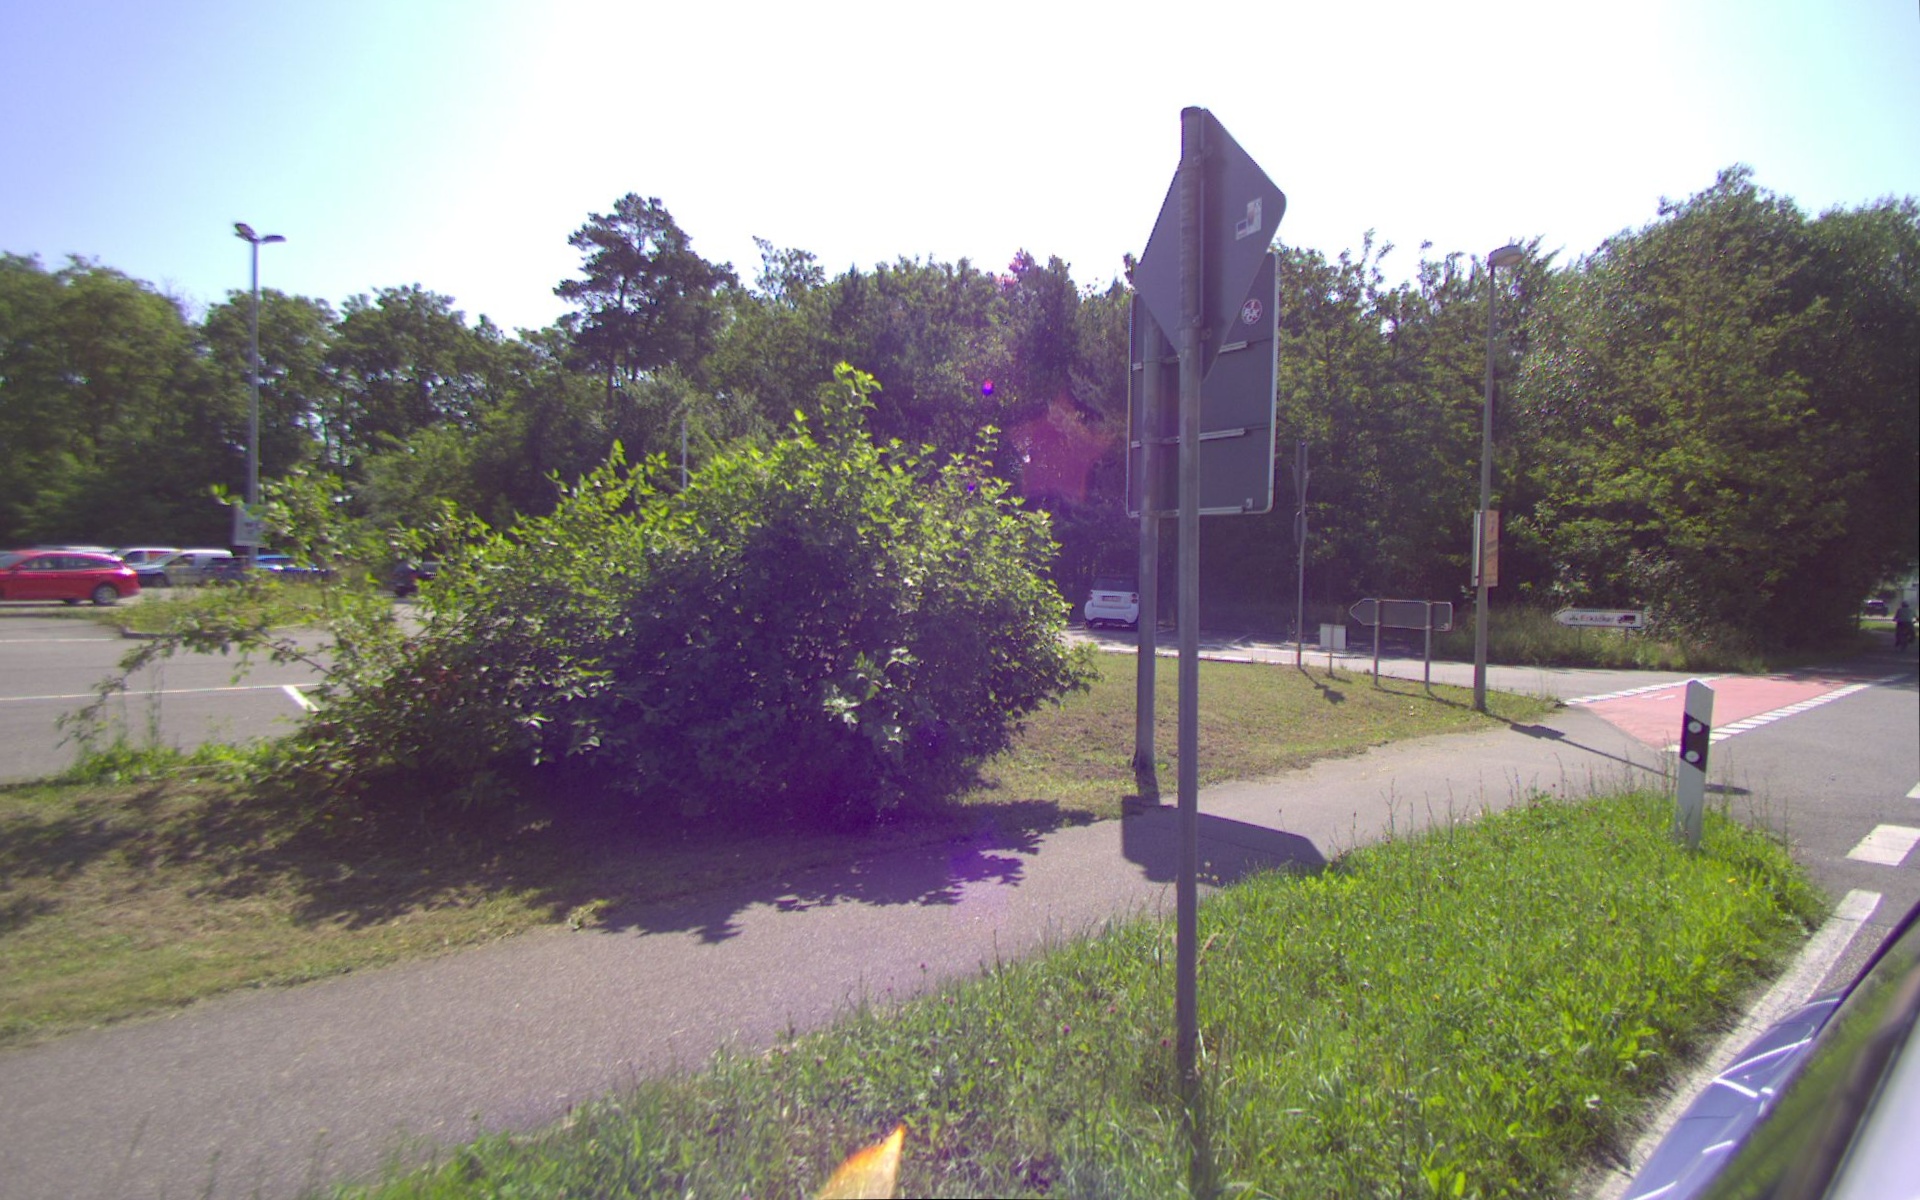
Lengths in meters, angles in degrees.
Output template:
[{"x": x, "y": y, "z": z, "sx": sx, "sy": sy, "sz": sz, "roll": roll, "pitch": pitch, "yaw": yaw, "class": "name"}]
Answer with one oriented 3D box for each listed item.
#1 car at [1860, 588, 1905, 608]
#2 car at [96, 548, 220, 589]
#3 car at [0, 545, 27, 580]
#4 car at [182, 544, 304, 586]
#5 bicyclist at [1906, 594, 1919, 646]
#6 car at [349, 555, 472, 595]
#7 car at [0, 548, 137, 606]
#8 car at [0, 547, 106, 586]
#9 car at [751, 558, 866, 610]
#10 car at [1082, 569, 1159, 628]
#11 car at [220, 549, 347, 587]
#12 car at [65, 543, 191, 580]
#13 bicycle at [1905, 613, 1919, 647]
[{"x": 84.905, "y": -0.202, "z": 93.212, "sx": 1.809, "sy": 1.660, "sz": 3.808, "roll": 2, "pitch": 2, "yaw": 23, "class": "car"}, {"x": -36.688, "y": -1.440, "z": 46.411, "sx": 2.049, "sy": 1.732, "sz": 3.968, "roll": 2, "pitch": 2, "yaw": 24, "class": "car"}, {"x": -51.128, "y": -1.973, "z": 52.225, "sx": 1.922, "sy": 1.823, "sz": 3.968, "roll": 2, "pitch": 2, "yaw": 24, "class": "car"}, {"x": -31.740, "y": -1.521, "z": 44.928, "sx": 2.049, "sy": 1.732, "sz": 3.968, "roll": 2, "pitch": 2, "yaw": 24, "class": "car"}, {"x": 32.927, "y": 0.686, "z": 34.664, "sx": 0.961, "sy": 1.752, "sz": 0.638, "roll": 1, "pitch": 0, "yaw": -39, "class": "bicyclist"}, {"x": -22.138, "y": -1.017, "z": 40.899, "sx": 2.049, "sy": 1.504, "sz": 3.968, "roll": 2, "pitch": 2, "yaw": 24, "class": "car"}, {"x": -25.366, "y": -0.652, "z": 27.384, "sx": 1.975, "sy": 1.483, "sz": 4.466, "roll": 2, "pitch": 2, "yaw": 19, "class": "car"}, {"x": -43.997, "y": -1.605, "z": 48.747, "sx": 1.922, "sy": 1.732, "sz": 3.968, "roll": 2, "pitch": 2, "yaw": 24, "class": "car"}, {"x": -4.839, "y": -0.547, "z": 33.014, "sx": 1.740, "sy": 1.549, "sz": 4.341, "roll": 2, "pitch": 2, "yaw": 22, "class": "car"}, {"x": 4.645, "y": -0.076, "z": 29.058, "sx": 1.579, "sy": 1.538, "sz": 2.821, "roll": 2, "pitch": 2, "yaw": 22, "class": "car"}, {"x": -29.005, "y": -1.365, "z": 43.544, "sx": 1.644, "sy": 1.504, "sz": 4.338, "roll": 2, "pitch": 2, "yaw": 24, "class": "car"}, {"x": -38.755, "y": -1.761, "z": 47.250, "sx": 1.775, "sy": 1.615, "sz": 4.229, "roll": 2, "pitch": 2, "yaw": 22, "class": "car"}, {"x": 32.786, "y": 1.004, "z": 34.554, "sx": 1.493, "sy": 1.138, "sz": 0.591, "roll": 0, "pitch": 0, "yaw": -39, "class": "bicycle"}]
